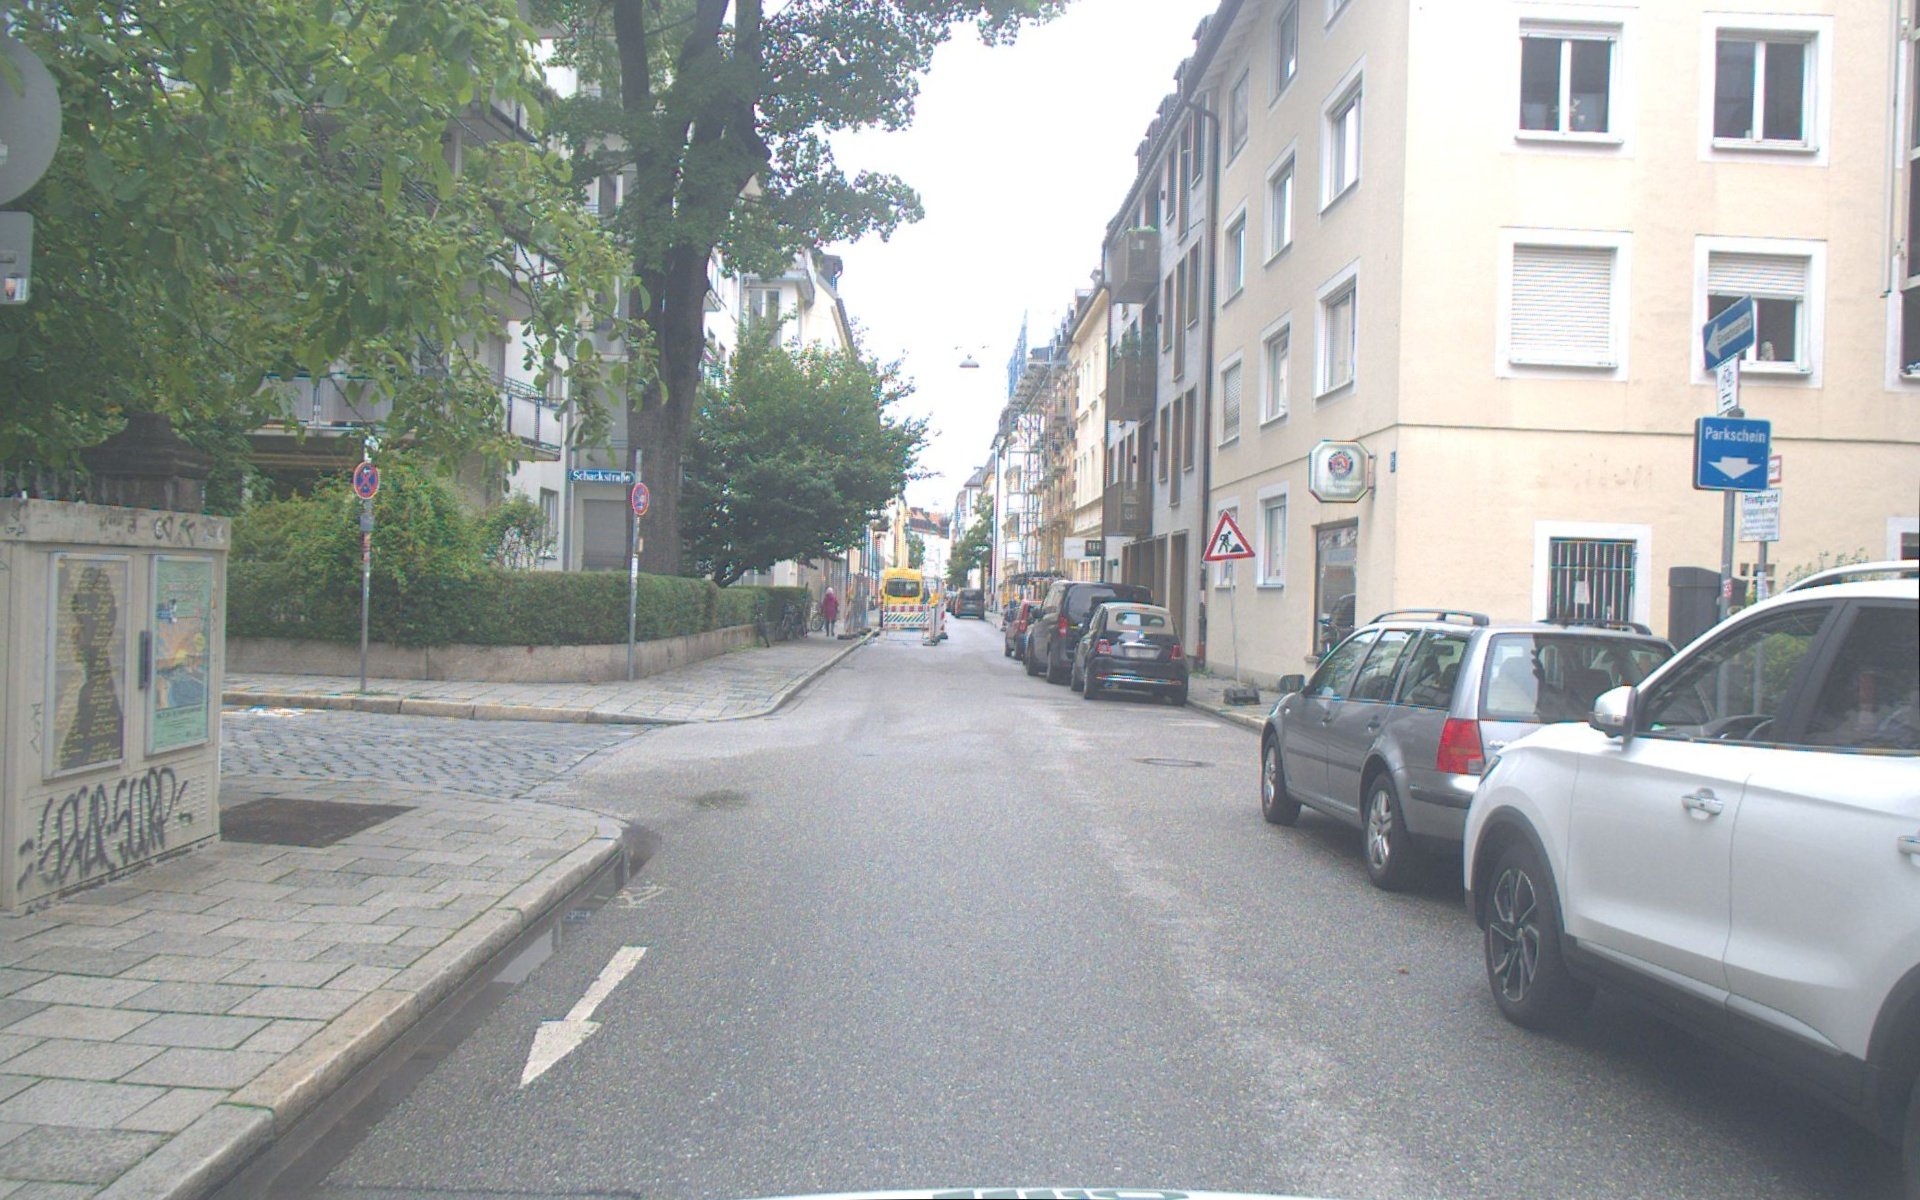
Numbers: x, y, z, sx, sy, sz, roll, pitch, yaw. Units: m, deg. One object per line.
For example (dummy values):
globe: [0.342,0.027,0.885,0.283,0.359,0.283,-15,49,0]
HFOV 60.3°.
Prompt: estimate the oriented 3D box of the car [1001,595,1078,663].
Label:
car: [2.017,0.716,43.003,1.603,1.541,3.828,5,0,-2]

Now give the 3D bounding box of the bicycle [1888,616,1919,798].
bicycle: [7.335,0.792,11.501,0.374,1.298,1.537,2,0,-29]

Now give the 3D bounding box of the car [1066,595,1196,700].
car: [2.689,0.713,26.776,1.592,1.513,3.807,2,0,-1]

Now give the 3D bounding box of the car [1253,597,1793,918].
car: [3.070,0.759,9.952,1.709,1.470,3.998,2,0,-2]

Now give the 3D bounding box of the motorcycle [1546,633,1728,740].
motorcycle: [8.022,1.001,19.672,0.617,1.127,1.897,2,0,-43]

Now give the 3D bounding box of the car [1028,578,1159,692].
car: [2.435,0.598,31.130,1.766,1.851,3.997,5,0,-3]

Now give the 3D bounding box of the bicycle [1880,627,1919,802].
bicycle: [6.961,0.803,10.942,0.374,1.179,1.537,2,0,-29]

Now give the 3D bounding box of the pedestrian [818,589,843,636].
pedestrian: [-4.262,0.402,54.527,0.740,1.517,0.831,1,-1,-1]

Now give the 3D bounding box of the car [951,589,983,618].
car: [0.445,0.211,108.759,1.766,1.741,3.824,5,0,-3]

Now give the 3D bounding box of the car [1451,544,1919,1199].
car: [2.995,0.716,4.703,1.714,1.658,4.194,1,0,-4]

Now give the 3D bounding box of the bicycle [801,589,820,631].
bicycle: [-5.203,0.349,57.517,0.504,1.442,1.933,1,0,-2]

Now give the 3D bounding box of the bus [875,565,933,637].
bus: [-2.540,0.073,76.723,2.540,3.156,6.304,1,0,-1]

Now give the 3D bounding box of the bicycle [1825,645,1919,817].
bicycle: [6.532,0.886,10.851,0.374,1.098,1.537,3,0,-29]

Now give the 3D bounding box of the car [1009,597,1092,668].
car: [2.109,0.738,39.231,1.532,1.458,3.413,5,0,-3]

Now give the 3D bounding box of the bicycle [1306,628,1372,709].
bicycle: [5.182,0.922,22.685,0.464,1.044,1.705,0,0,-1]

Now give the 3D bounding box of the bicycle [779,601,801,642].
bicycle: [-4.582,0.569,44.726,0.437,1.092,2.466,1,0,-3]

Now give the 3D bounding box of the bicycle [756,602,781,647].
bicycle: [-4.540,0.568,39.189,0.406,1.038,1.853,1,0,-2]

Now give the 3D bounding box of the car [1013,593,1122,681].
car: [2.223,0.735,35.220,1.766,1.595,3.998,5,0,-2]
